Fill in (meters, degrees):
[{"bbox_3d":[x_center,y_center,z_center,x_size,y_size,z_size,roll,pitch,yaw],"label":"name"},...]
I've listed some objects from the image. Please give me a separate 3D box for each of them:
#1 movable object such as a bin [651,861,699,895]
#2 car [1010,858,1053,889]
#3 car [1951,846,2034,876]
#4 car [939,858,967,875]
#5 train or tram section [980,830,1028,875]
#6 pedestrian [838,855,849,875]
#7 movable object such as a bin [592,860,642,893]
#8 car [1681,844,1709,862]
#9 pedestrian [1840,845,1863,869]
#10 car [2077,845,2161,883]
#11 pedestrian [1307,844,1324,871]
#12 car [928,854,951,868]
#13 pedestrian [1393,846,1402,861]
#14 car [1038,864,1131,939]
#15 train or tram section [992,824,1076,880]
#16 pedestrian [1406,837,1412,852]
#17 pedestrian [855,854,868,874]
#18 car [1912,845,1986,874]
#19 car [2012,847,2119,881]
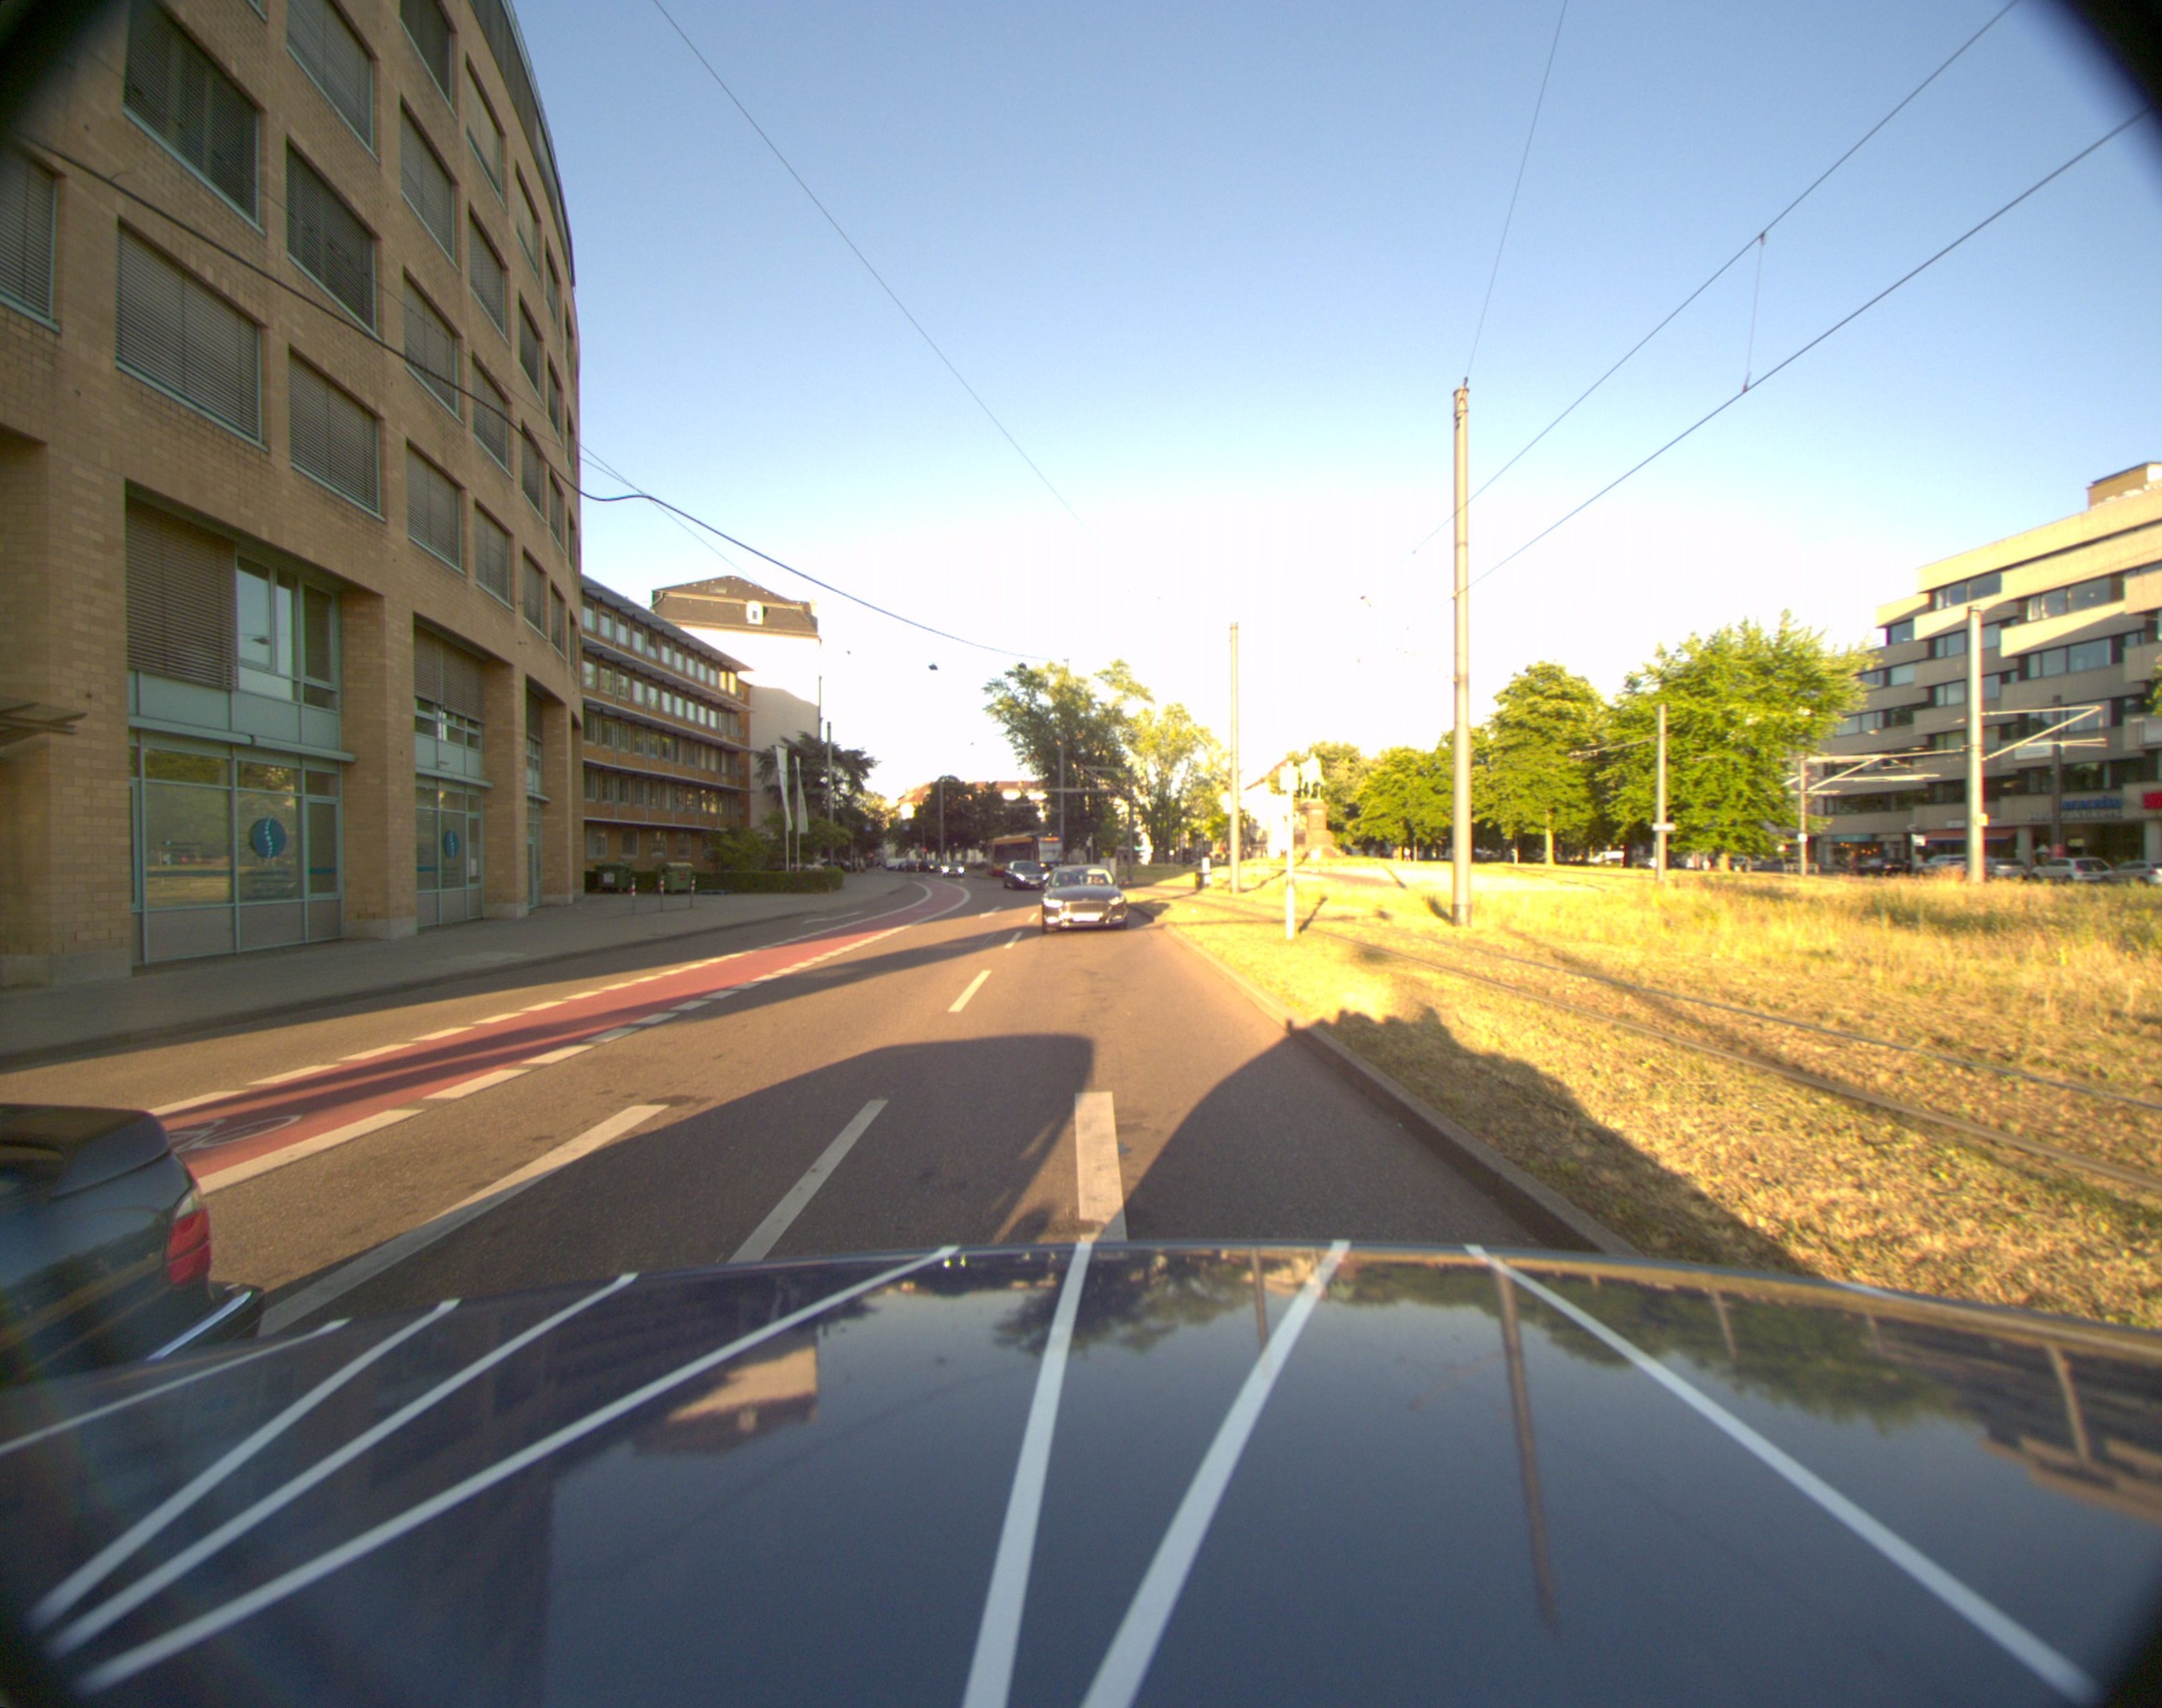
[{"bbox_3d":[-18.278,1.057,34.242,1.427,1.450,1.332,-1,0,-3],"label":"movable object such as a bin"},{"bbox_3d":[-2.592,1.010,40.931,1.897,1.526,4.705,-1,0,1],"label":"car"},{"bbox_3d":[58.823,0.433,49.147,1.995,1.868,4.007,0,0,27],"label":"car"},{"bbox_3d":[-11.687,1.077,69.191,2.001,1.453,4.137,-1,0,-16],"label":"car"},{"bbox_3d":[-7.189,-0.170,69.198,2.888,3.717,12.169,-1,0,-13],"label":"train or tram section"},{"bbox_3d":[-21.154,0.987,67.763,0.728,1.797,0.724,-1,1,1],"label":"pedestrian"},{"bbox_3d":[-21.192,1.030,34.750,1.427,1.450,1.332,-1,0,-2],"label":"movable object such as a bin"},{"bbox_3d":[72.030,-0.151,89.182,1.995,2.002,4.007,-2,1,32],"label":"car"},{"bbox_3d":[66.587,0.246,65.676,1.138,2.023,0.892,-1,1,3],"label":"pedestrian"},{"bbox_3d":[54.141,0.493,39.012,1.921,1.853,4.006,-1,0,23],"label":"car"},{"bbox_3d":[15.414,0.235,49.950,0.891,1.718,0.797,-1,1,1],"label":"pedestrian"},{"bbox_3d":[-15.984,0.793,85.986,1.759,1.379,3.999,-4,0,-1],"label":"car"},{"bbox_3d":[36.285,-0.040,87.124,0.711,1.660,0.635,-1,1,1],"label":"pedestrian"},{"bbox_3d":[0.107,1.004,17.898,1.890,1.477,4.725,0,0,1],"label":"car"},{"bbox_3d":[-3.854,-0.142,57.602,2.921,3.717,13.196,-1,0,-19],"label":"train or tram section"},{"bbox_3d":[37.289,-1.080,86.373,0.535,1.684,0.512,-1,1,1],"label":"pedestrian"},{"bbox_3d":[-20.394,0.941,70.624,0.913,1.883,1.123,-1,1,-31],"label":"pedestrian"},{"bbox_3d":[61.326,0.380,53.779,1.995,1.925,4.007,-1,0,24],"label":"car"},{"bbox_3d":[56.299,0.557,43.571,1.995,1.868,4.006,-1,0,22],"label":"car"}]
